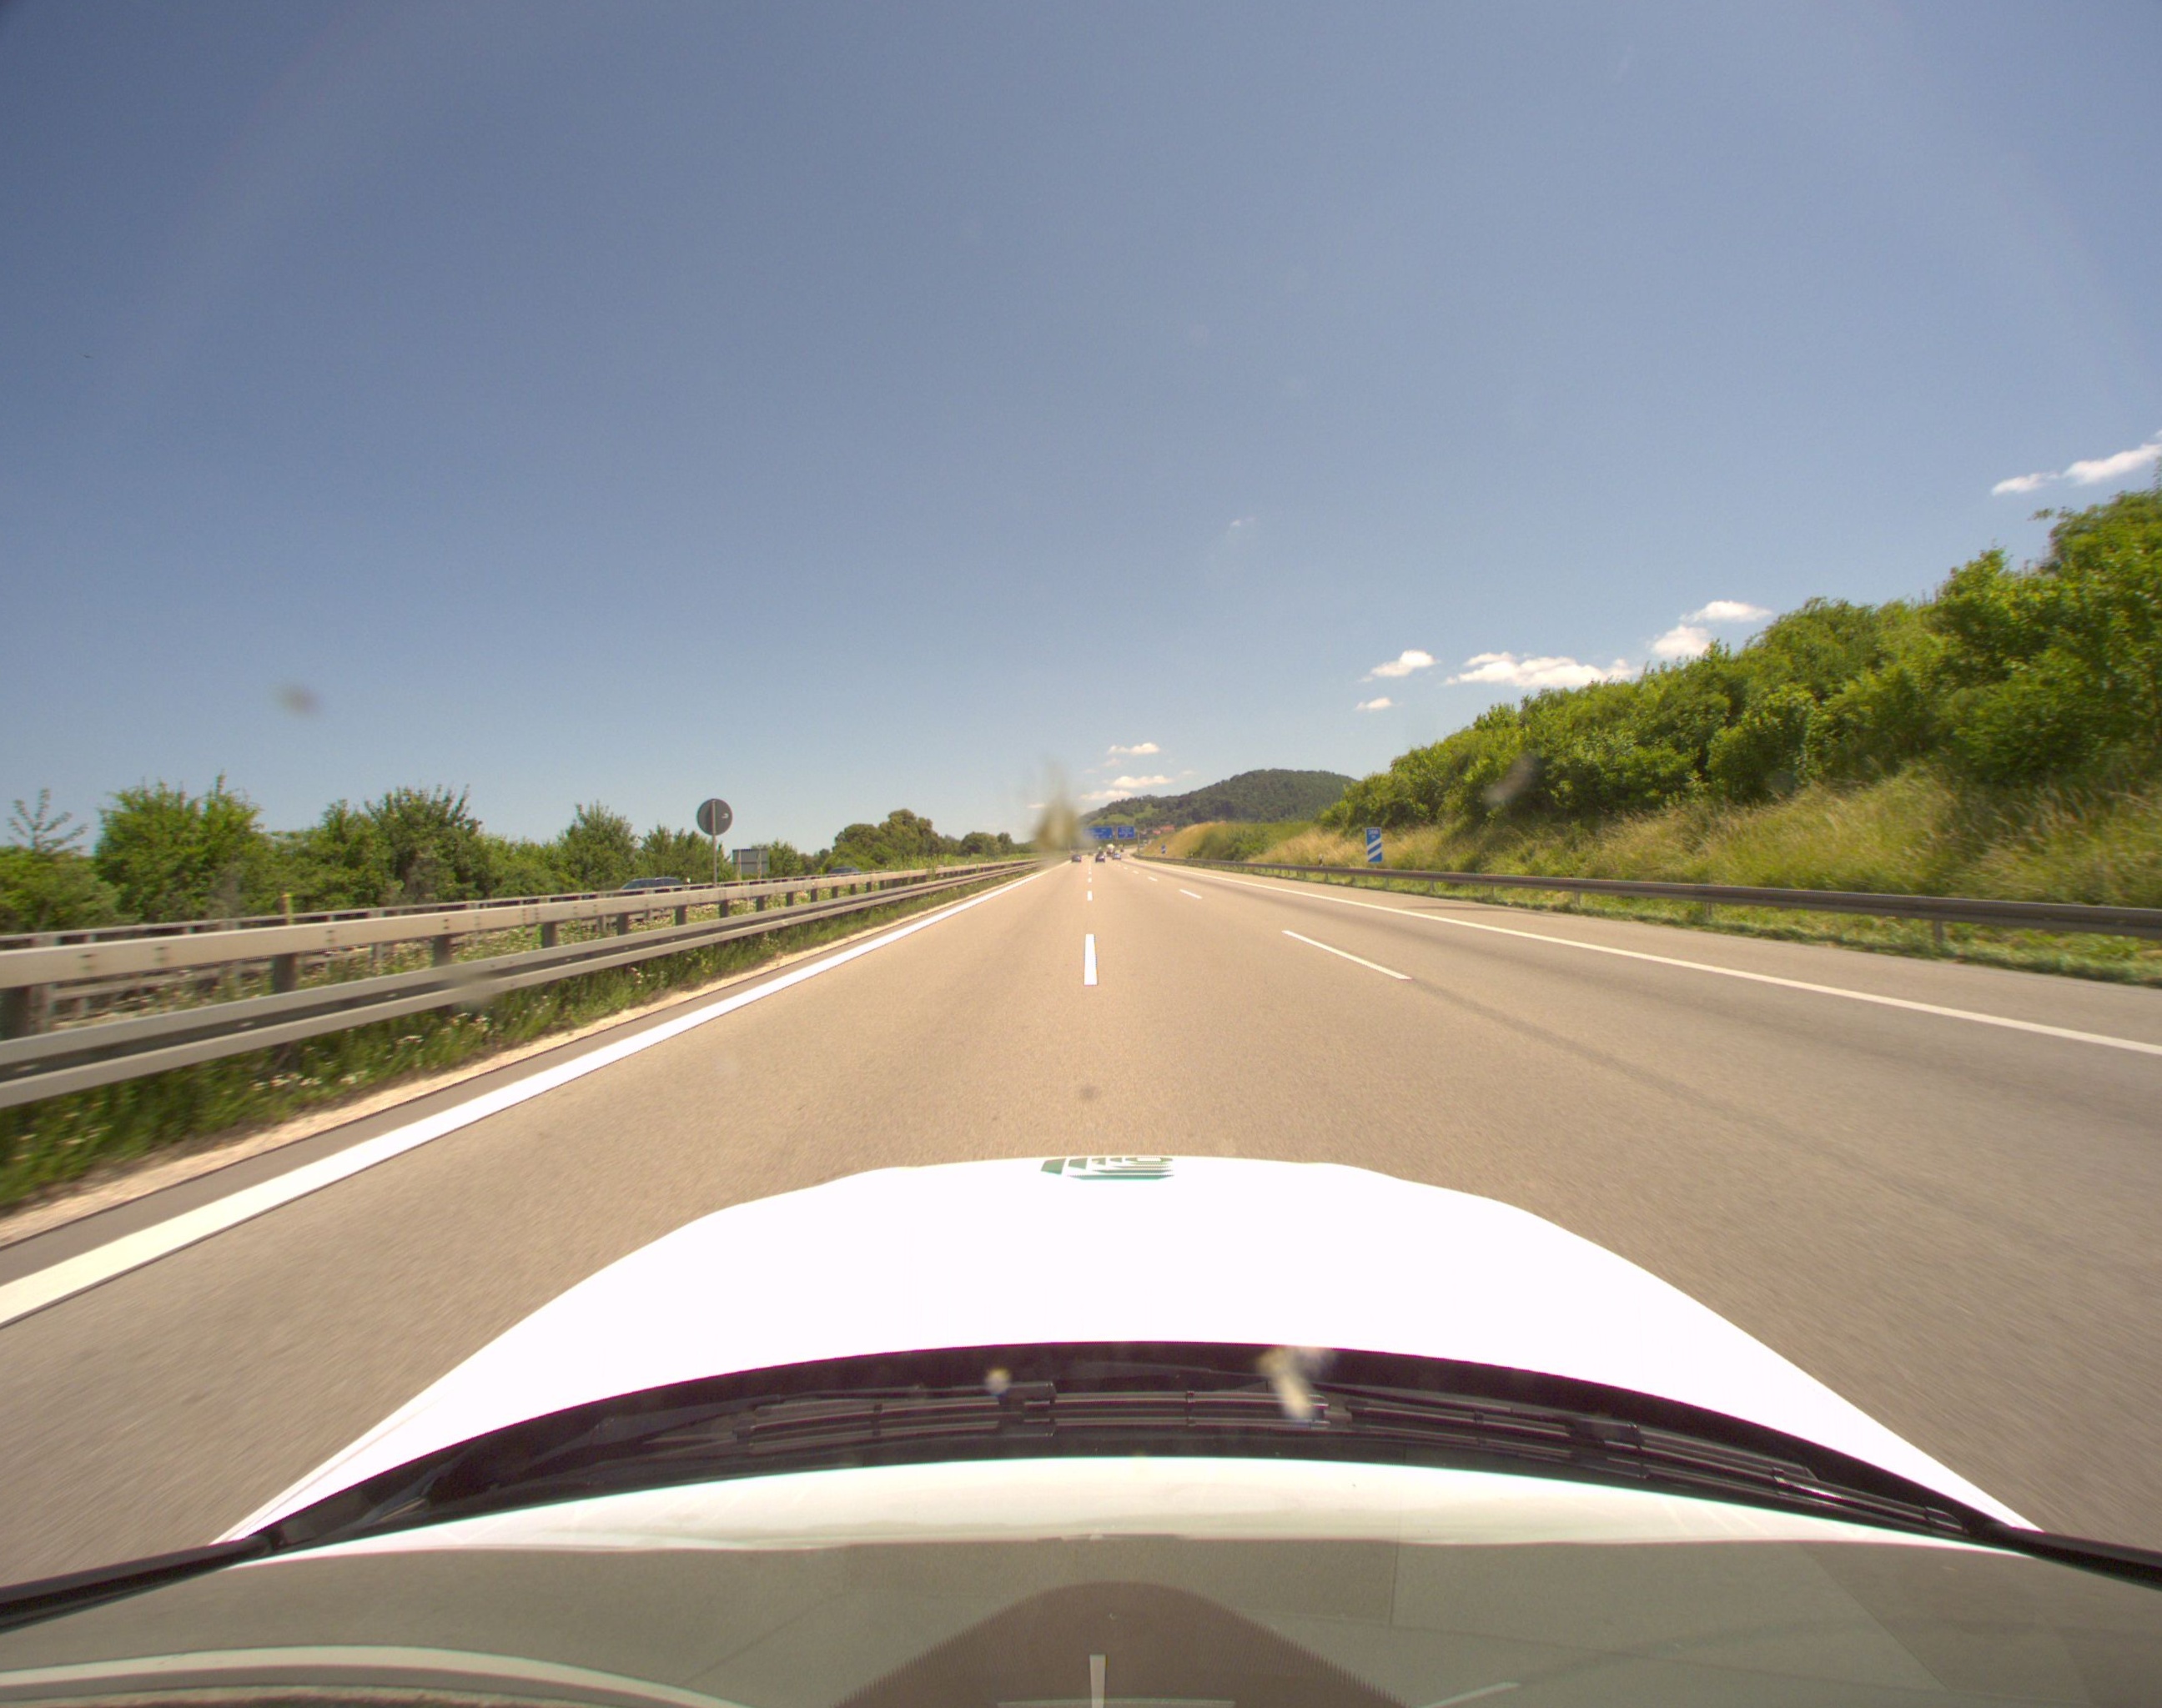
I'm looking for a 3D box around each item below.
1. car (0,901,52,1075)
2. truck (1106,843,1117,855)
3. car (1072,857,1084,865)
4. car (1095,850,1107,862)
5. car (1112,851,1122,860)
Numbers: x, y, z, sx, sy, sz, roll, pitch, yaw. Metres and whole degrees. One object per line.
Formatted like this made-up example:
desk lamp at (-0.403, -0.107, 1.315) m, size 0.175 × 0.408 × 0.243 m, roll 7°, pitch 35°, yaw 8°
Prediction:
car at (-10.455, 1.191, 5.845) m, size 1.630 × 1.530 × 3.486 m, roll -1°, pitch -1°, yaw 2°
truck at (9.524, -1.475, 257.433) m, size 3.316 × 3.690 × 7.604 m, roll -1°, pitch -1°, yaw 2°
car at (-0.567, 1.219, 142.437) m, size 1.986 × 1.389 × 4.001 m, roll -1°, pitch -1°, yaw 1°
car at (3.342, 0.376, 137.454) m, size 1.986 × 2.014 × 4.001 m, roll -1°, pitch -1°, yaw 1°
car at (7.820, 0.376, 175.948) m, size 1.986 × 1.818 × 4.001 m, roll -3°, pitch 0°, yaw 1°
